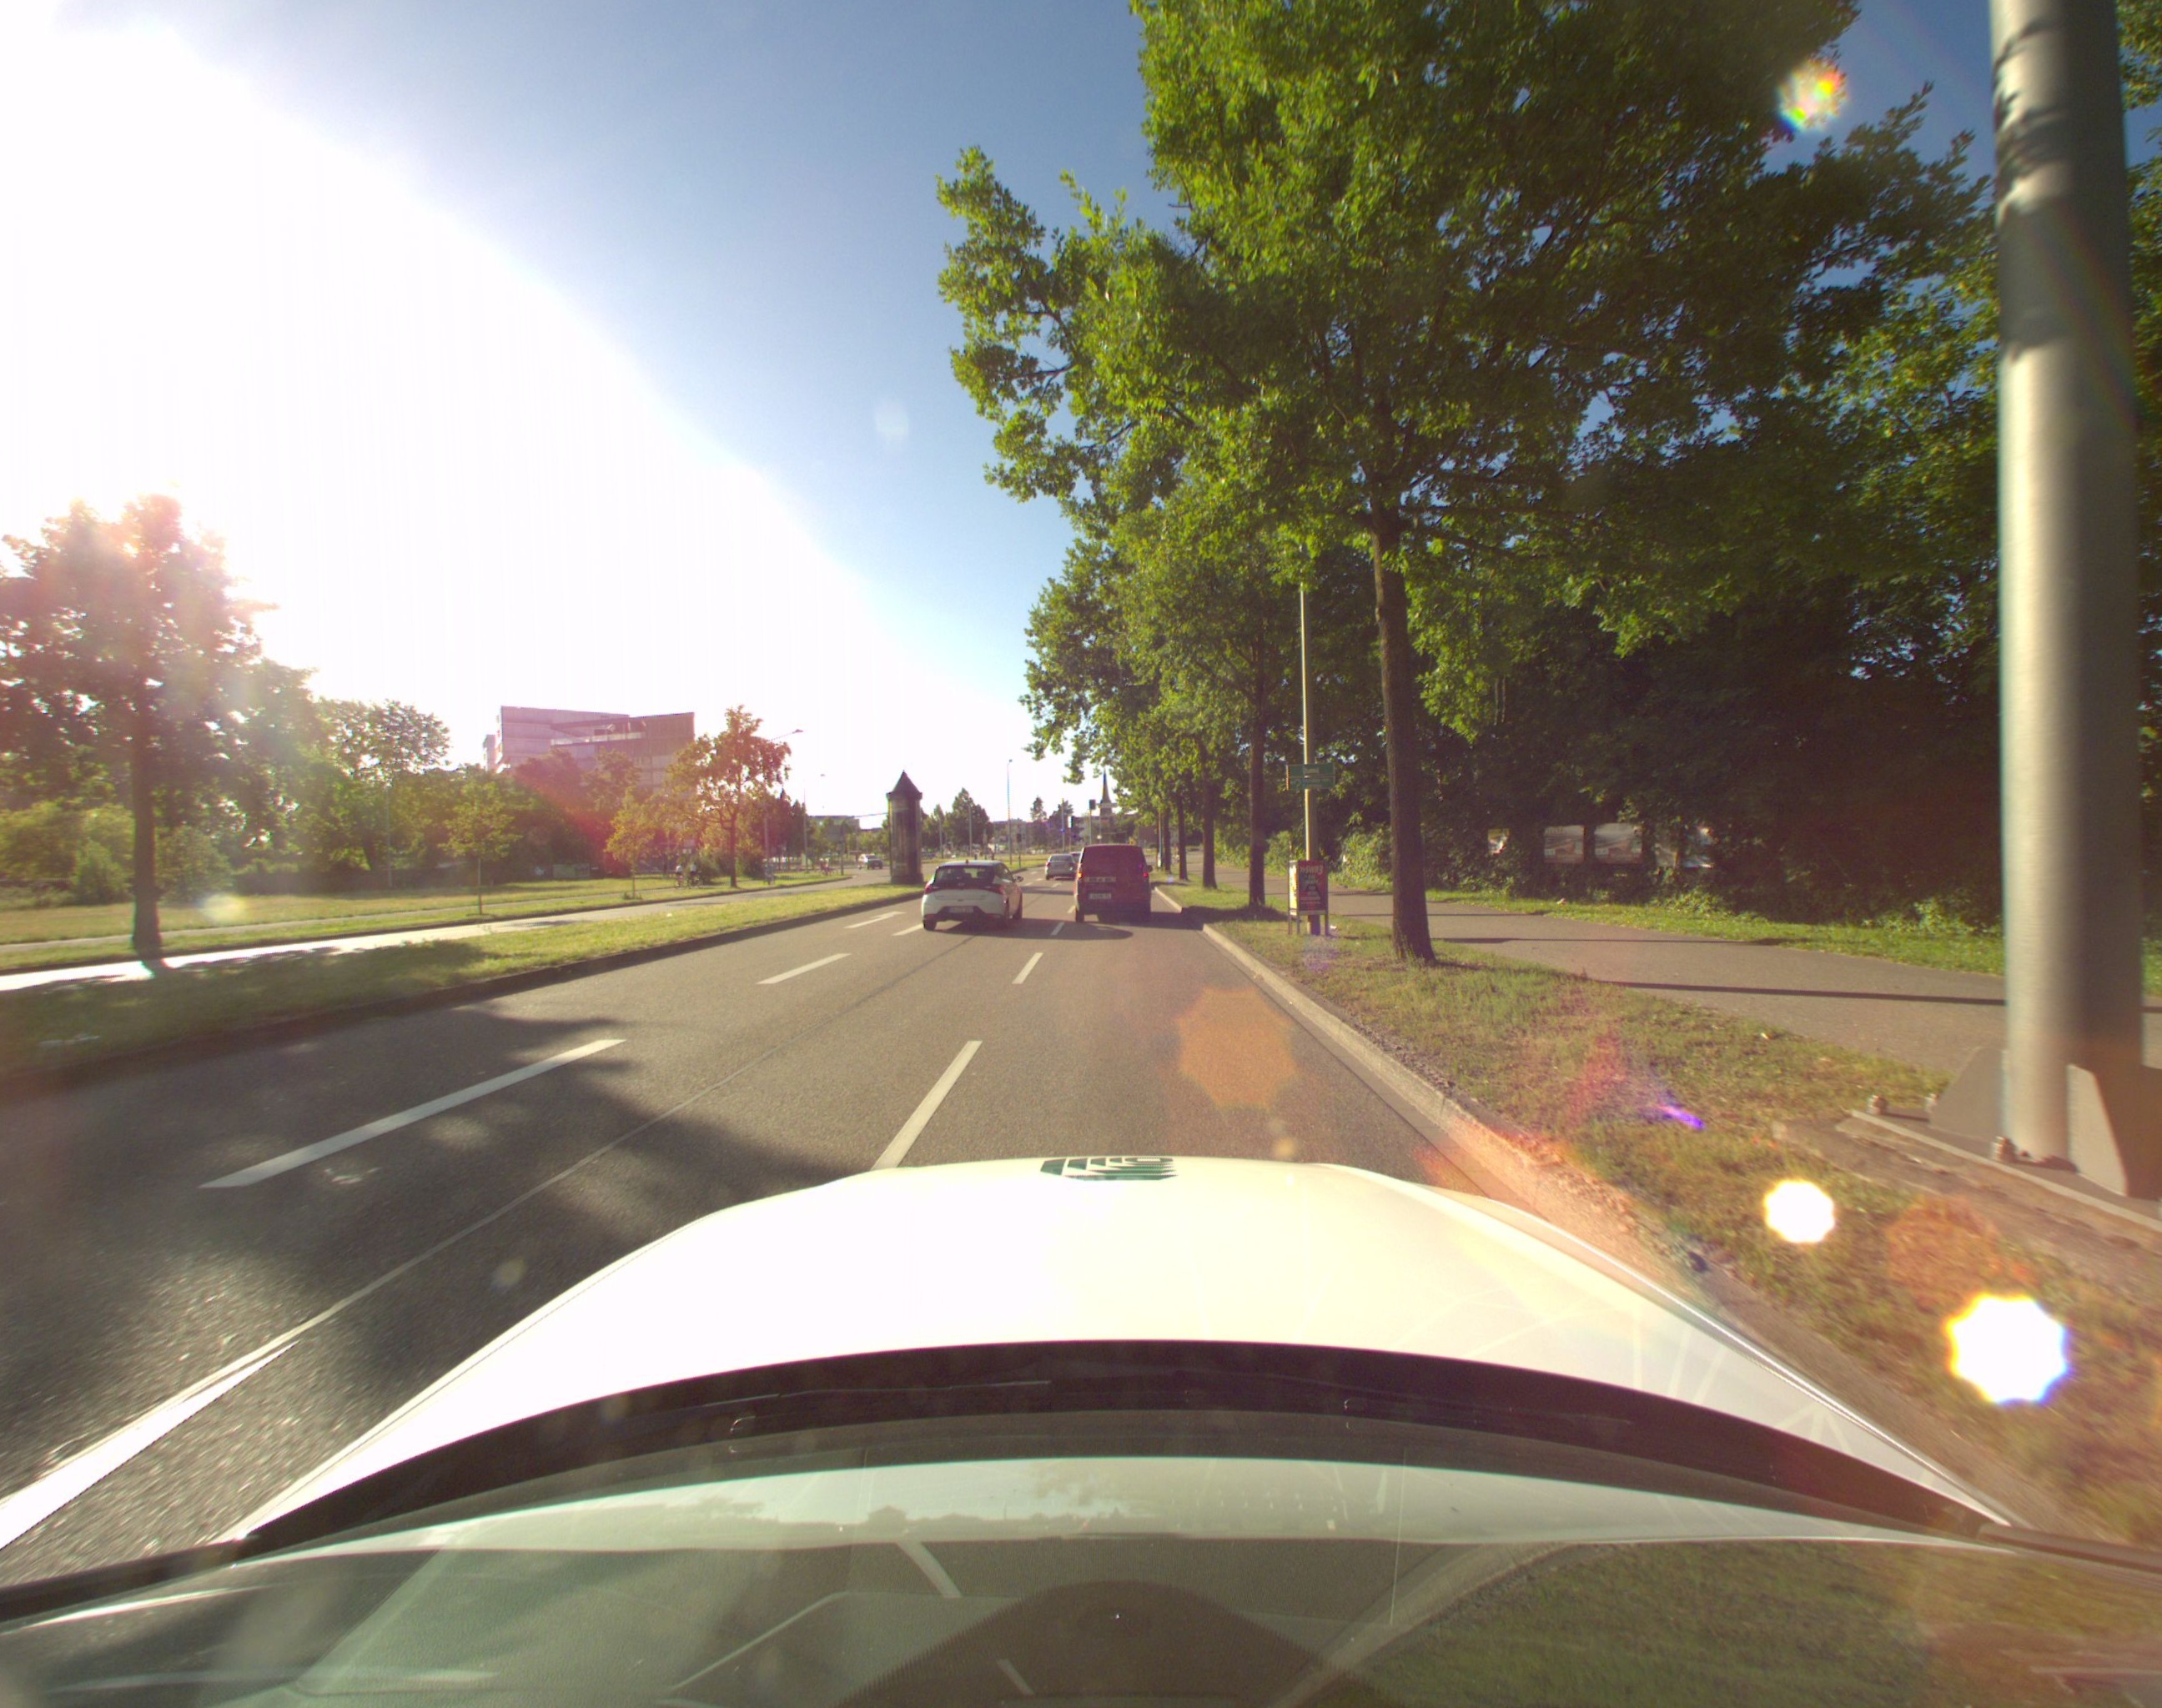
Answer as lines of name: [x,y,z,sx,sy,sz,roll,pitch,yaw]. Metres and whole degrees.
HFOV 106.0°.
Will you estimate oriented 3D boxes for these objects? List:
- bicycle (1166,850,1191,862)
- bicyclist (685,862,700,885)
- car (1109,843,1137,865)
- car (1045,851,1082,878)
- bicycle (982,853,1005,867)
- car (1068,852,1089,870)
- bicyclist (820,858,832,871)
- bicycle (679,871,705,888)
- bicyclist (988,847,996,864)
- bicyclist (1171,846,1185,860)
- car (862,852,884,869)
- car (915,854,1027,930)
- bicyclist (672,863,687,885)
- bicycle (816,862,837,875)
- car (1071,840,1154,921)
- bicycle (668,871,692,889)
bicycle: [8.892,0.173,74.307,2.133,0.958,0.781,-2,0,-30]
bicyclist: [-24.764,1.224,51.888,0.560,1.392,0.747,-2,0,1]
car: [3.594,-0.020,69.353,1.648,1.761,3.511,-2,0,14]
car: [-0.963,0.581,47.246,1.834,1.456,4.165,-1,1,2]
bicycle: [-7.771,0.514,72.165,1.952,1.166,0.517,-2,0,0]
car: [-0.195,0.561,68.998,1.655,1.398,3.560,-2,1,2]
bicyclist: [-22.716,0.912,72.587,0.729,1.107,0.607,-2,0,15]
bicycle: [-24.753,1.615,51.820,0.568,1.003,2.097,-2,0,1]
bicyclist: [-7.864,0.141,72.165,0.601,1.468,0.517,-2,0,0]
bicyclist: [8.831,-0.126,74.285,0.974,1.249,0.781,-2,0,-30]
car: [-24.093,0.712,94.234,1.643,1.876,3.964,-2,0,-27]
car: [-2.332,0.757,18.308,1.771,1.408,4.077,-1,1,2]
bicyclist: [-25.861,1.269,52.435,0.480,1.394,0.844,-2,0,1]
bicycle: [-22.686,1.271,72.585,1.714,1.107,0.607,-2,0,14]
car: [0.766,0.560,20.072,1.799,1.759,4.008,-1,1,2]
bicycle: [-25.847,1.666,52.533,0.485,1.003,2.097,-2,0,1]
